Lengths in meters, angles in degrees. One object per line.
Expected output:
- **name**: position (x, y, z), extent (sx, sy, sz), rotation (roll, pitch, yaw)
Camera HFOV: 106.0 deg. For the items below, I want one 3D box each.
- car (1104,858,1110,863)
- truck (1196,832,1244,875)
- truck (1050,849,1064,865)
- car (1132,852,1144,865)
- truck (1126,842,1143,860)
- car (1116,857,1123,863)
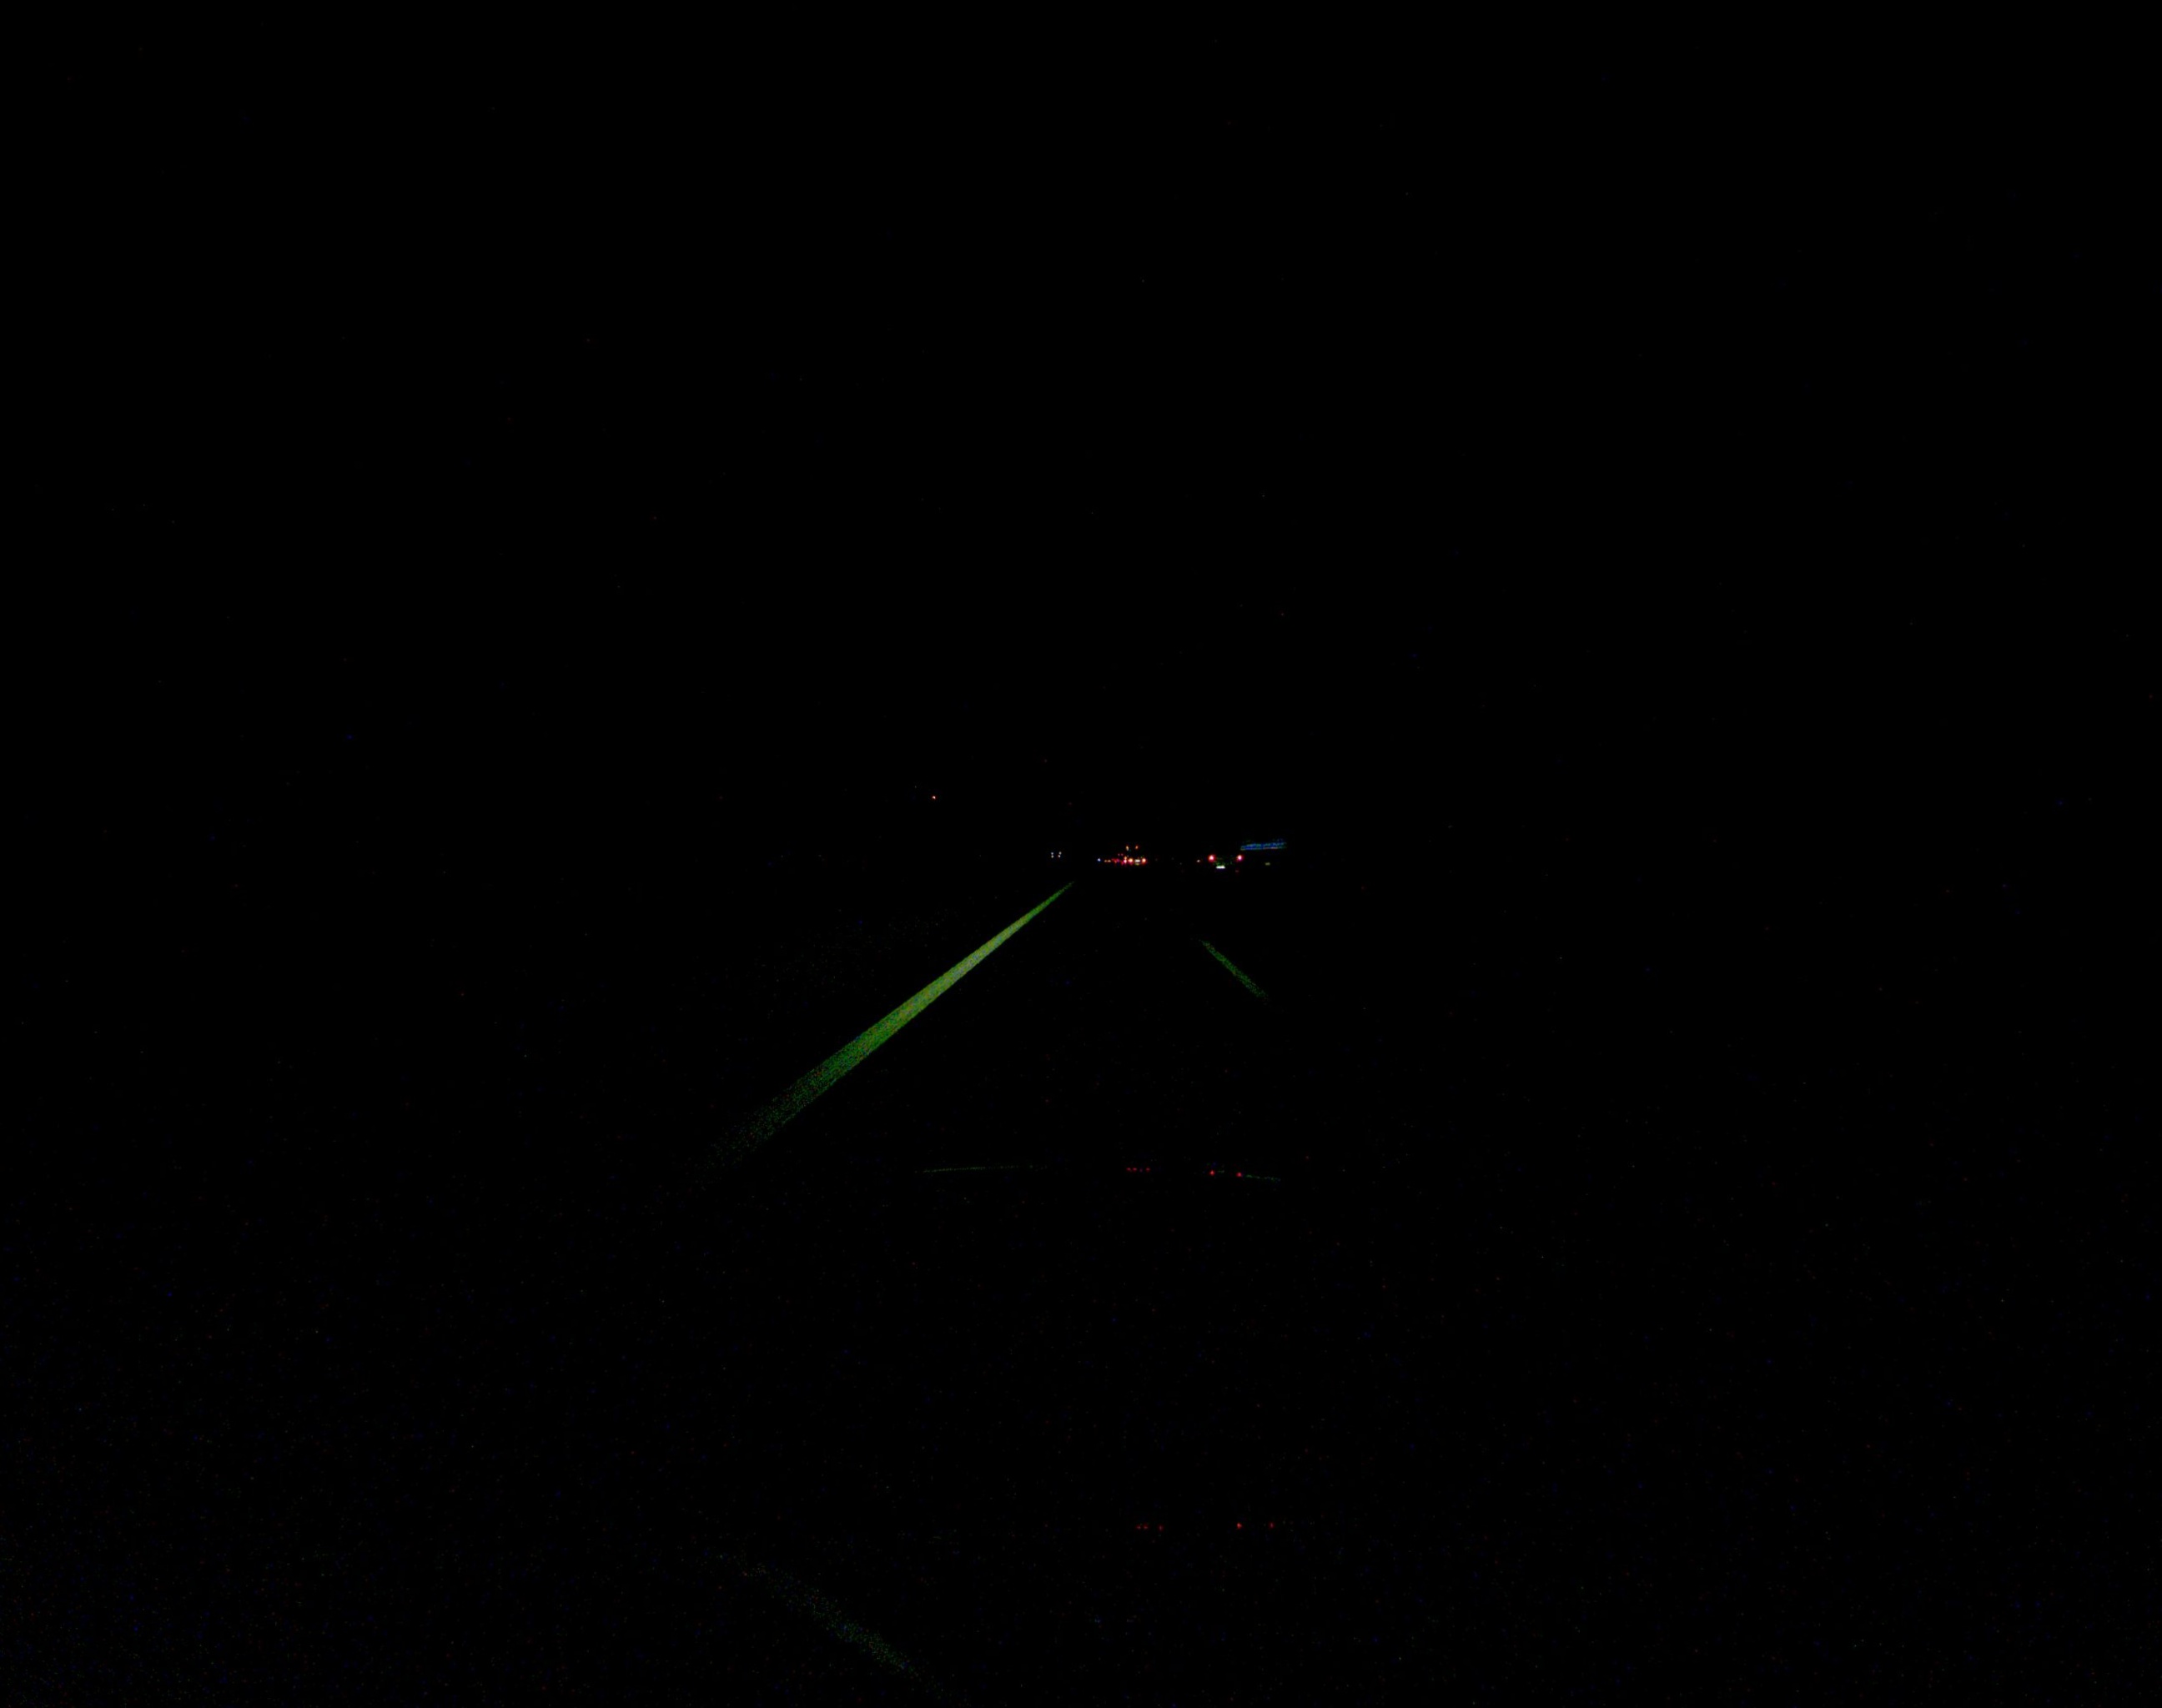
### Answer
- **car**: position (7.980, 2.082, 253.291), extent (1.813, 1.466, 4.251), rotation (0, 1, 3)
- **truck**: position (9.234, 0.041, 54.794), extent (2.069, 2.691, 7.308), rotation (0, -1, 1)
- **truck**: position (-7.333, 0.902, 252.335), extent (3.234, 4.488, 17.449), rotation (0, 1, 2)
- **car**: position (6.605, 0.539, 94.762), extent (1.340, 1.387, 3.504), rotation (0, 1, 3)
- **truck**: position (9.910, -0.630, 151.239), extent (3.032, 3.324, 10.149), rotation (0, 1, 3)
- **car**: position (9.654, 1.582, 204.156), extent (1.813, 1.466, 4.251), rotation (0, 1, 3)
